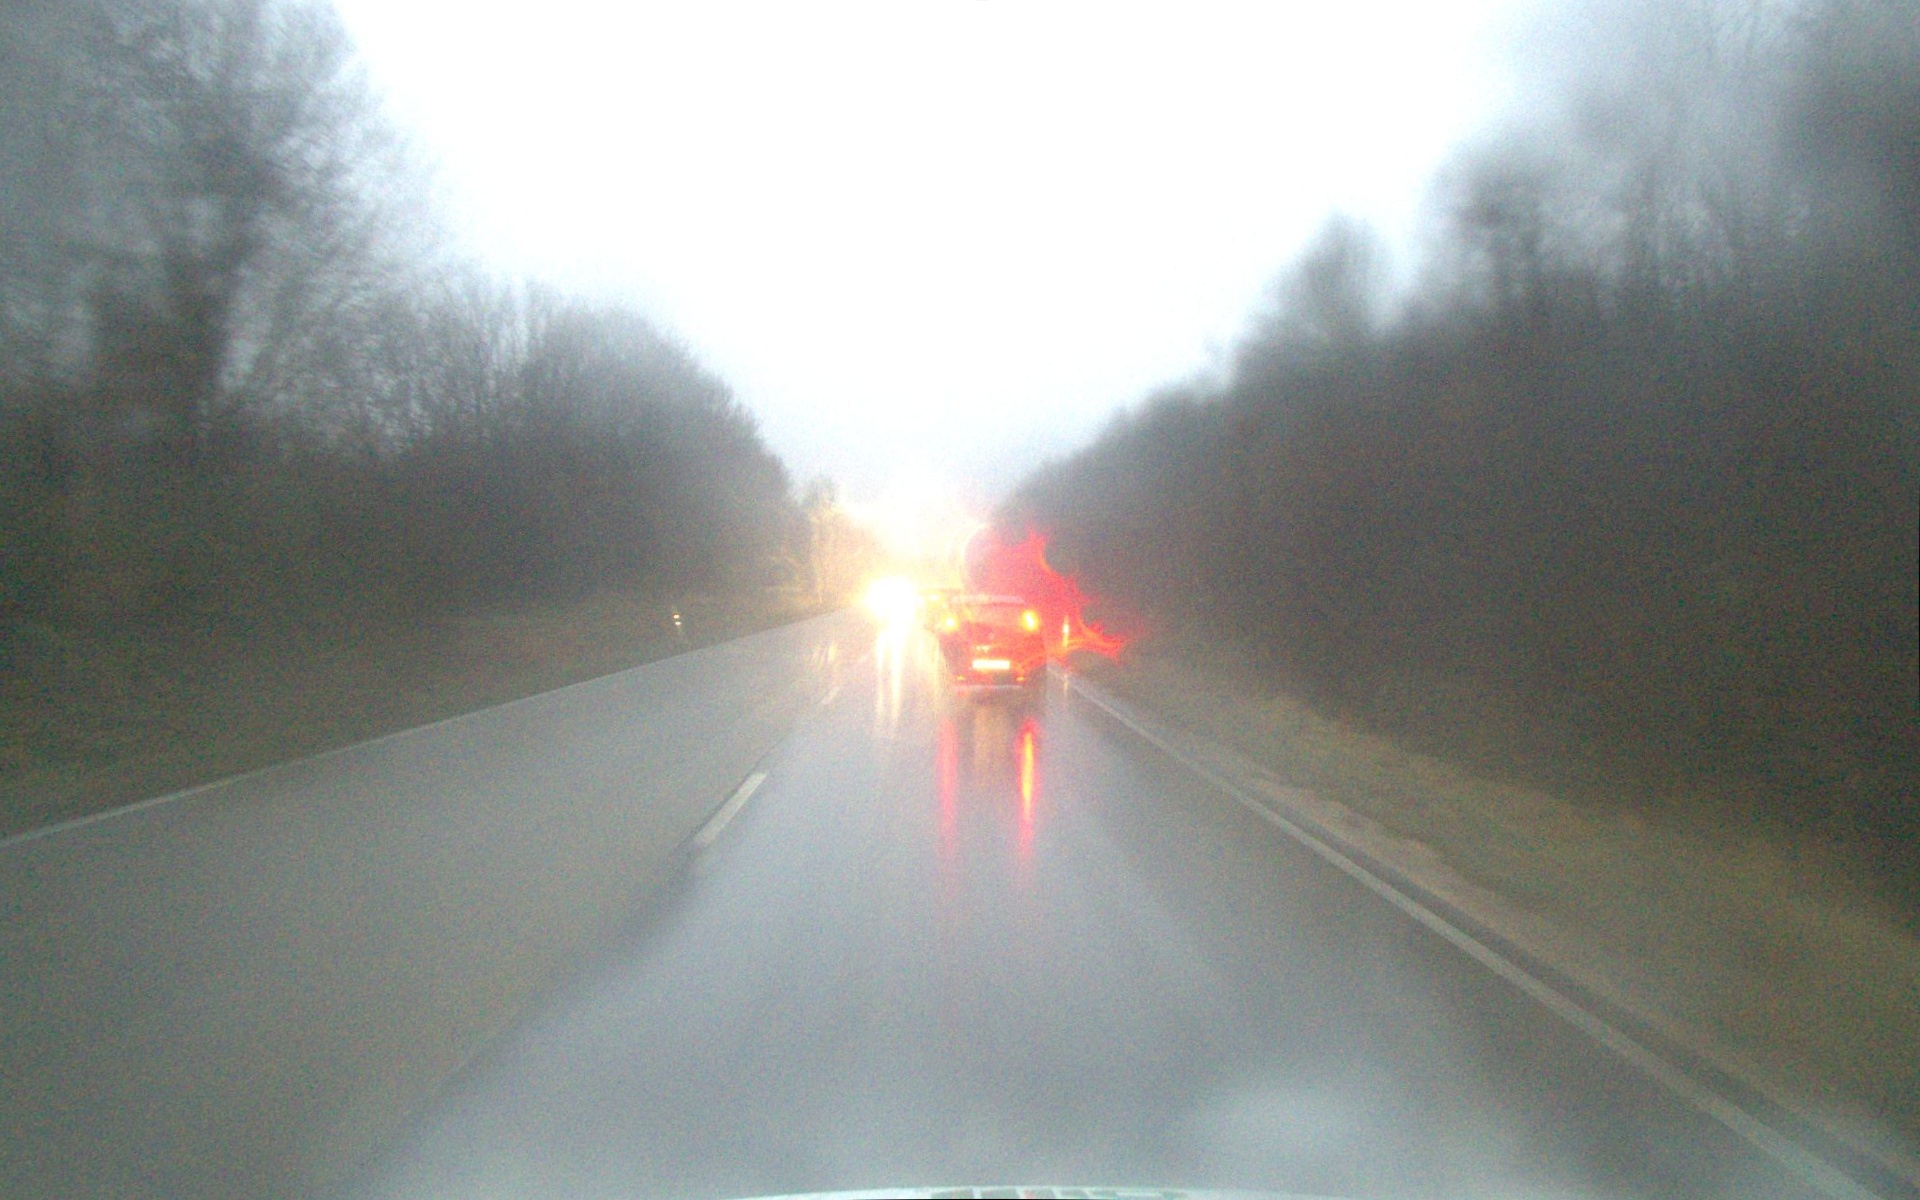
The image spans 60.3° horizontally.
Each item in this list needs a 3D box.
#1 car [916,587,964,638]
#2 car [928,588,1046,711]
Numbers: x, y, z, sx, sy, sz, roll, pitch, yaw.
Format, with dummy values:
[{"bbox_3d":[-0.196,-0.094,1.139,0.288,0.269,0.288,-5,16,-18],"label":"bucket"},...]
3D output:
[{"bbox_3d":[-0.772,0.445,62.087,1.698,1.810,3.999,1,0,-1],"label":"car"},{"bbox_3d":[0.392,0.685,24.807,1.614,1.701,3.514,1,0,0],"label":"car"}]
